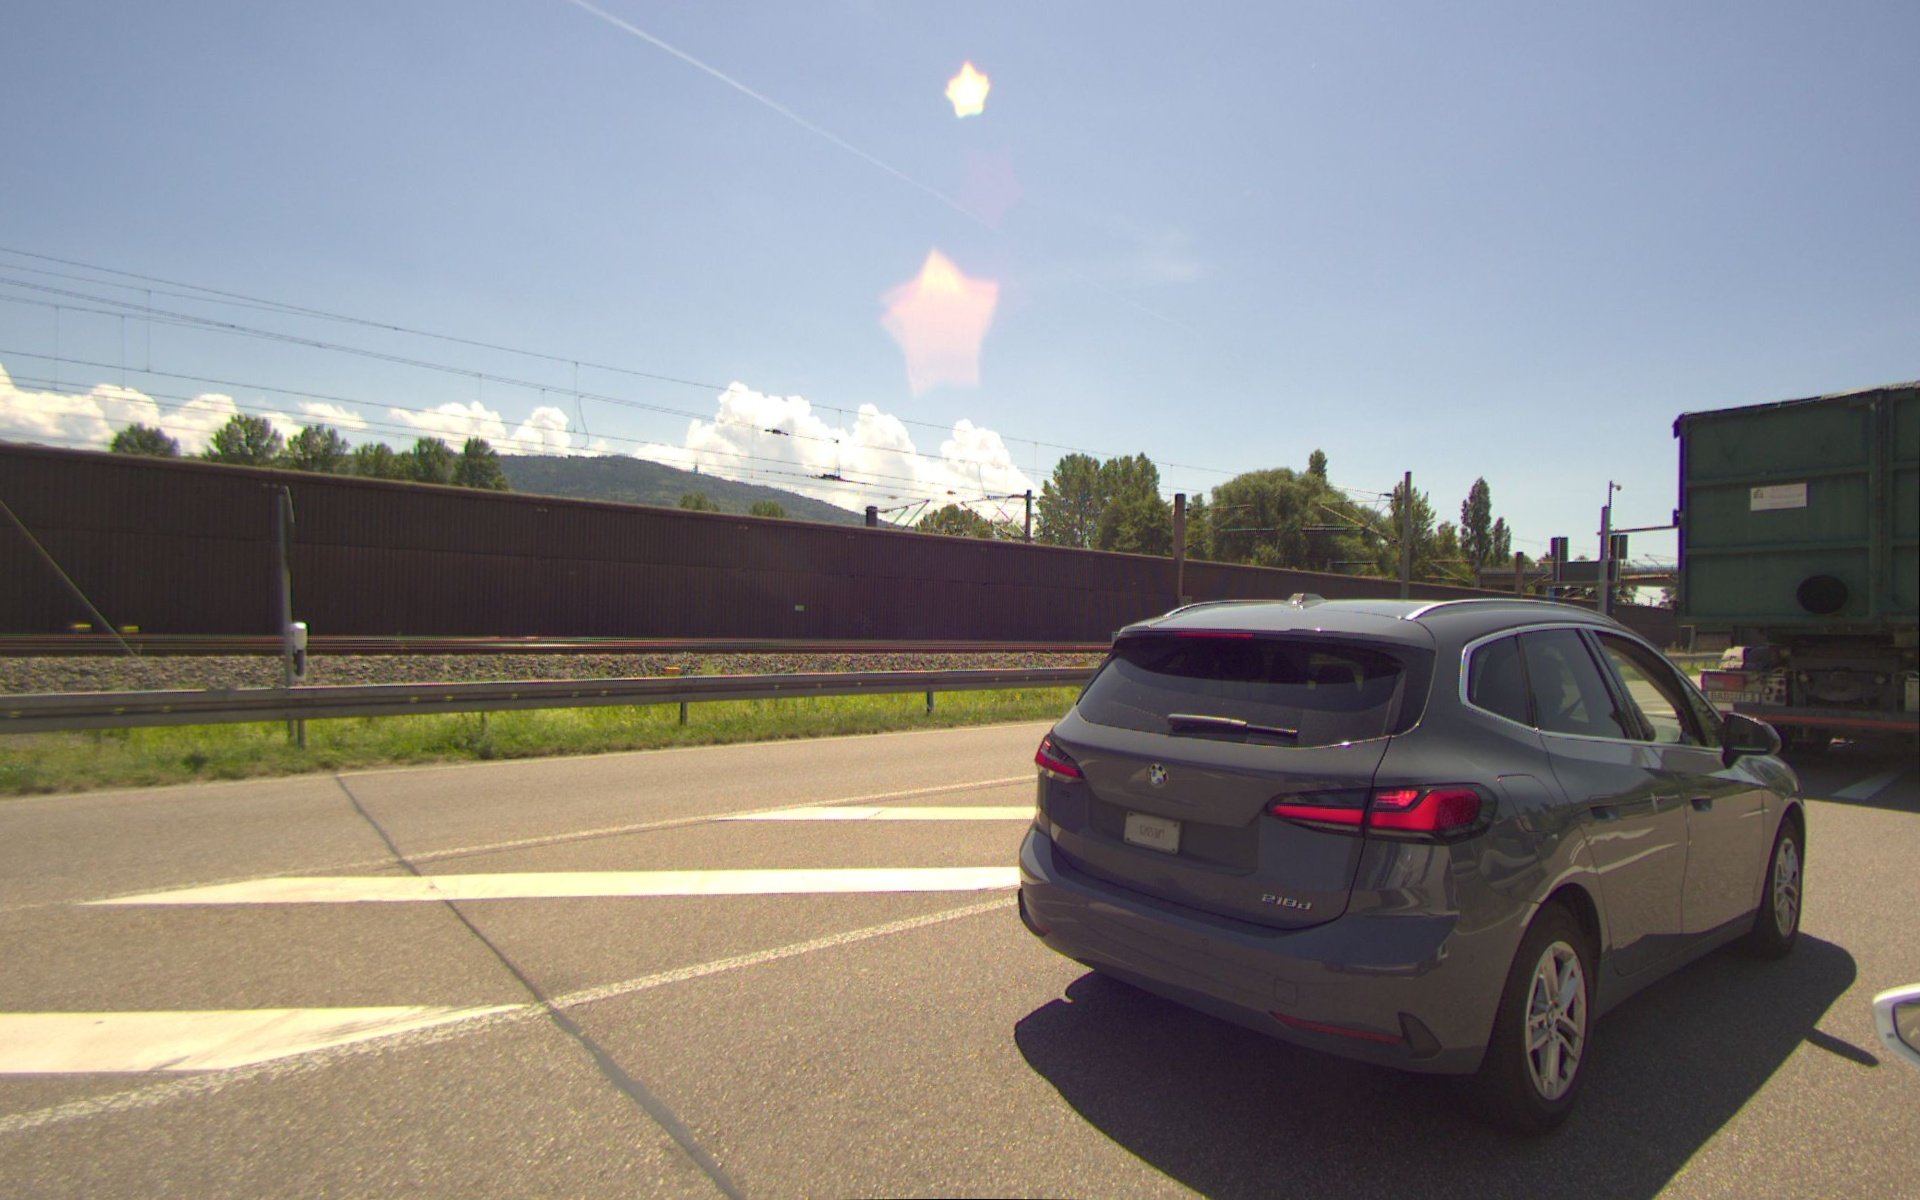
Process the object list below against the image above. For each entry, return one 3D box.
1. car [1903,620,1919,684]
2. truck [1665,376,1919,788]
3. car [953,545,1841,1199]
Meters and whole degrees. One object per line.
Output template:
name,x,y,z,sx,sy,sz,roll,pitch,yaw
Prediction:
car,27.764,1.483,27.563,1.900,1.791,4.586,1,0,32
truck,12.041,-0.061,12.805,9.494,3.787,2.569,2,-1,-39
car,2.178,0.763,4.384,4.189,1.644,1.830,2,-2,-39
